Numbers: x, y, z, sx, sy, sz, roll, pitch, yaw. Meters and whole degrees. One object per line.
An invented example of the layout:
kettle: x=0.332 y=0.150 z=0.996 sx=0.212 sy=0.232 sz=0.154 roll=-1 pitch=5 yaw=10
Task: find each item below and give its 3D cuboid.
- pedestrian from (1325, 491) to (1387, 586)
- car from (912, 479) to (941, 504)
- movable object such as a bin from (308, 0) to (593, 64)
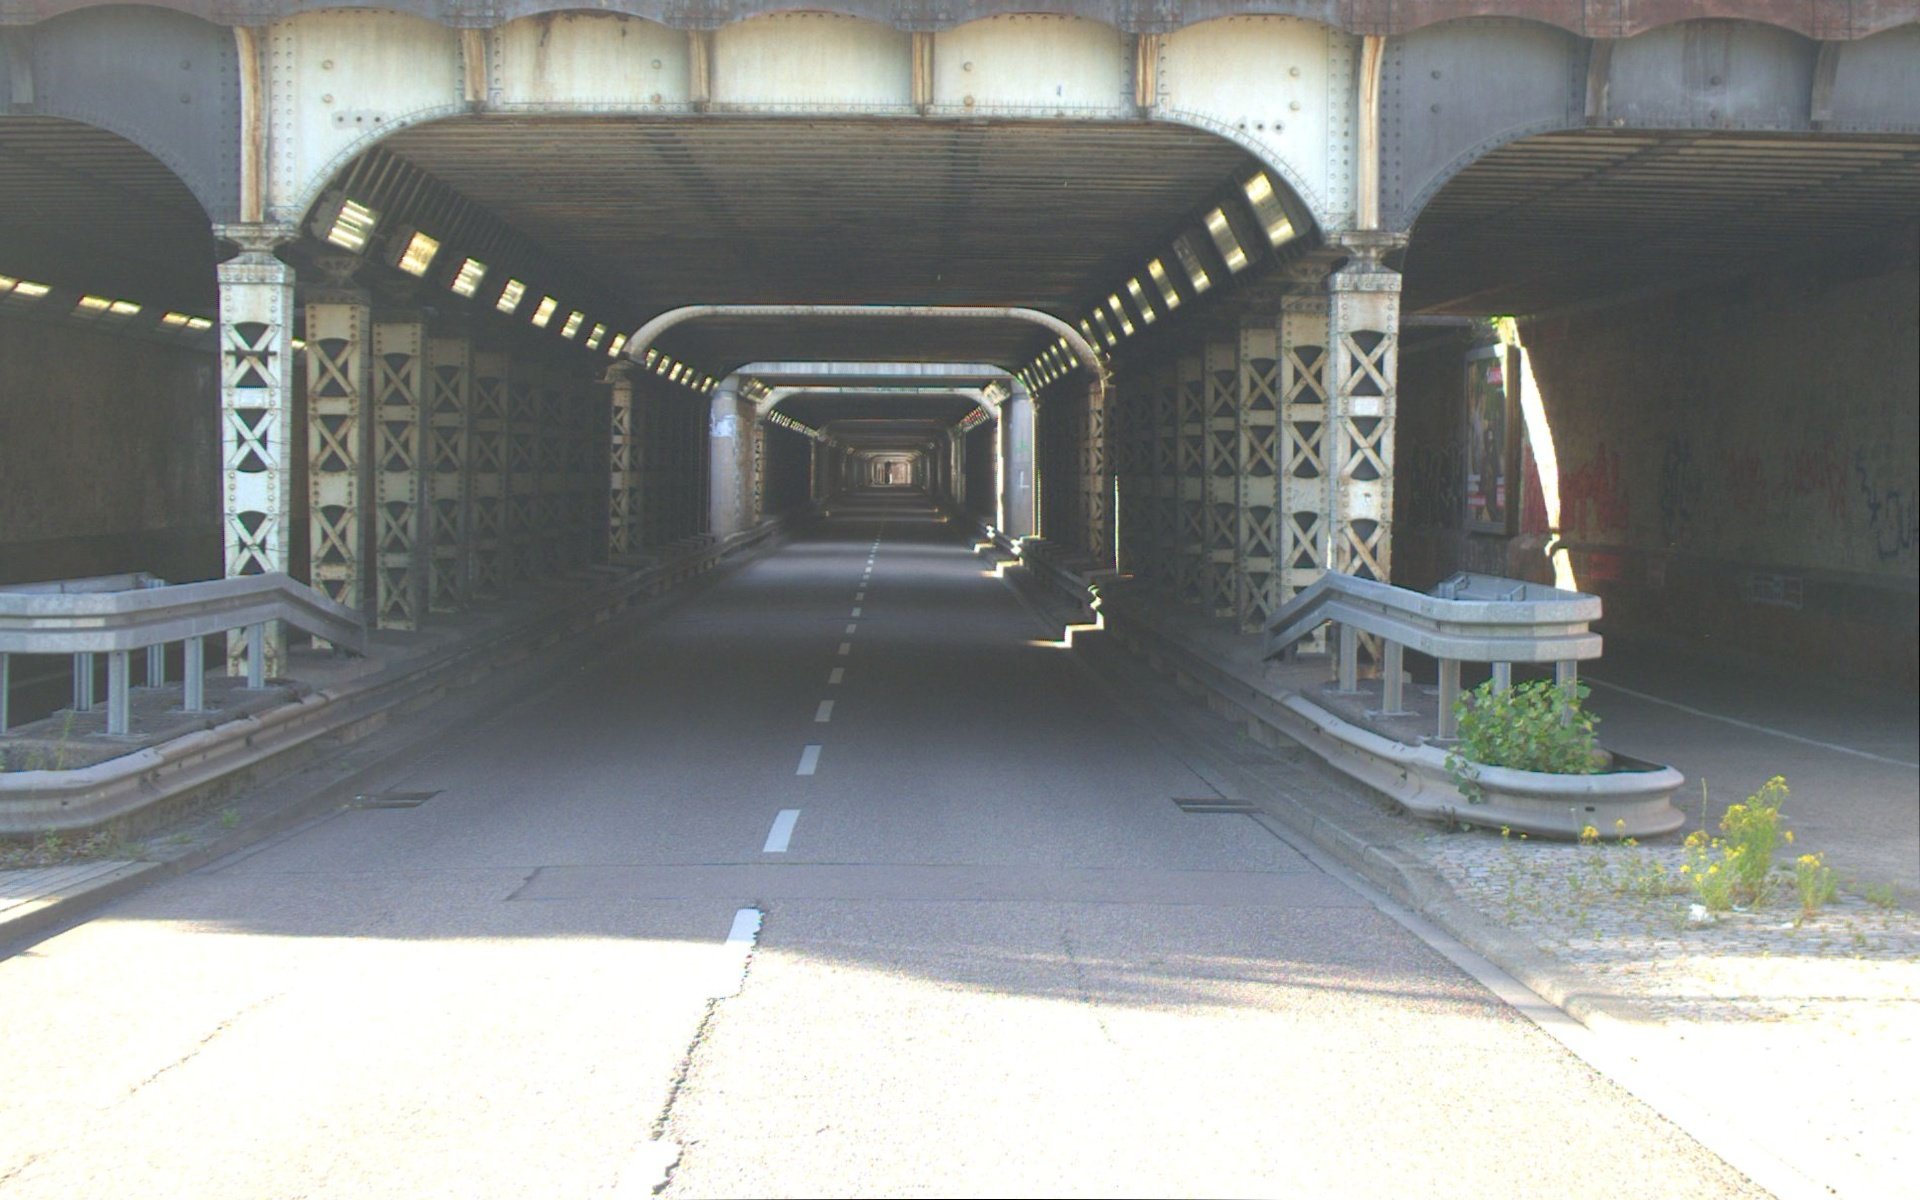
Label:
pedestrian: x=6.996 y=-1.093 z=60.791 sx=0.916 sy=1.650 sz=0.886 roll=-2 pitch=2 yaw=-4
car: x=-2.423 y=-7.816 z=247.618 sx=1.993 sy=1.778 sz=4.001 roll=0 pitch=2 yaw=-1
movable object such as a bin: x=-4.339 y=-6.025 z=29.109 sx=1.993 sy=2.218 sz=4.831 roll=1 pitch=1 yaw=0
